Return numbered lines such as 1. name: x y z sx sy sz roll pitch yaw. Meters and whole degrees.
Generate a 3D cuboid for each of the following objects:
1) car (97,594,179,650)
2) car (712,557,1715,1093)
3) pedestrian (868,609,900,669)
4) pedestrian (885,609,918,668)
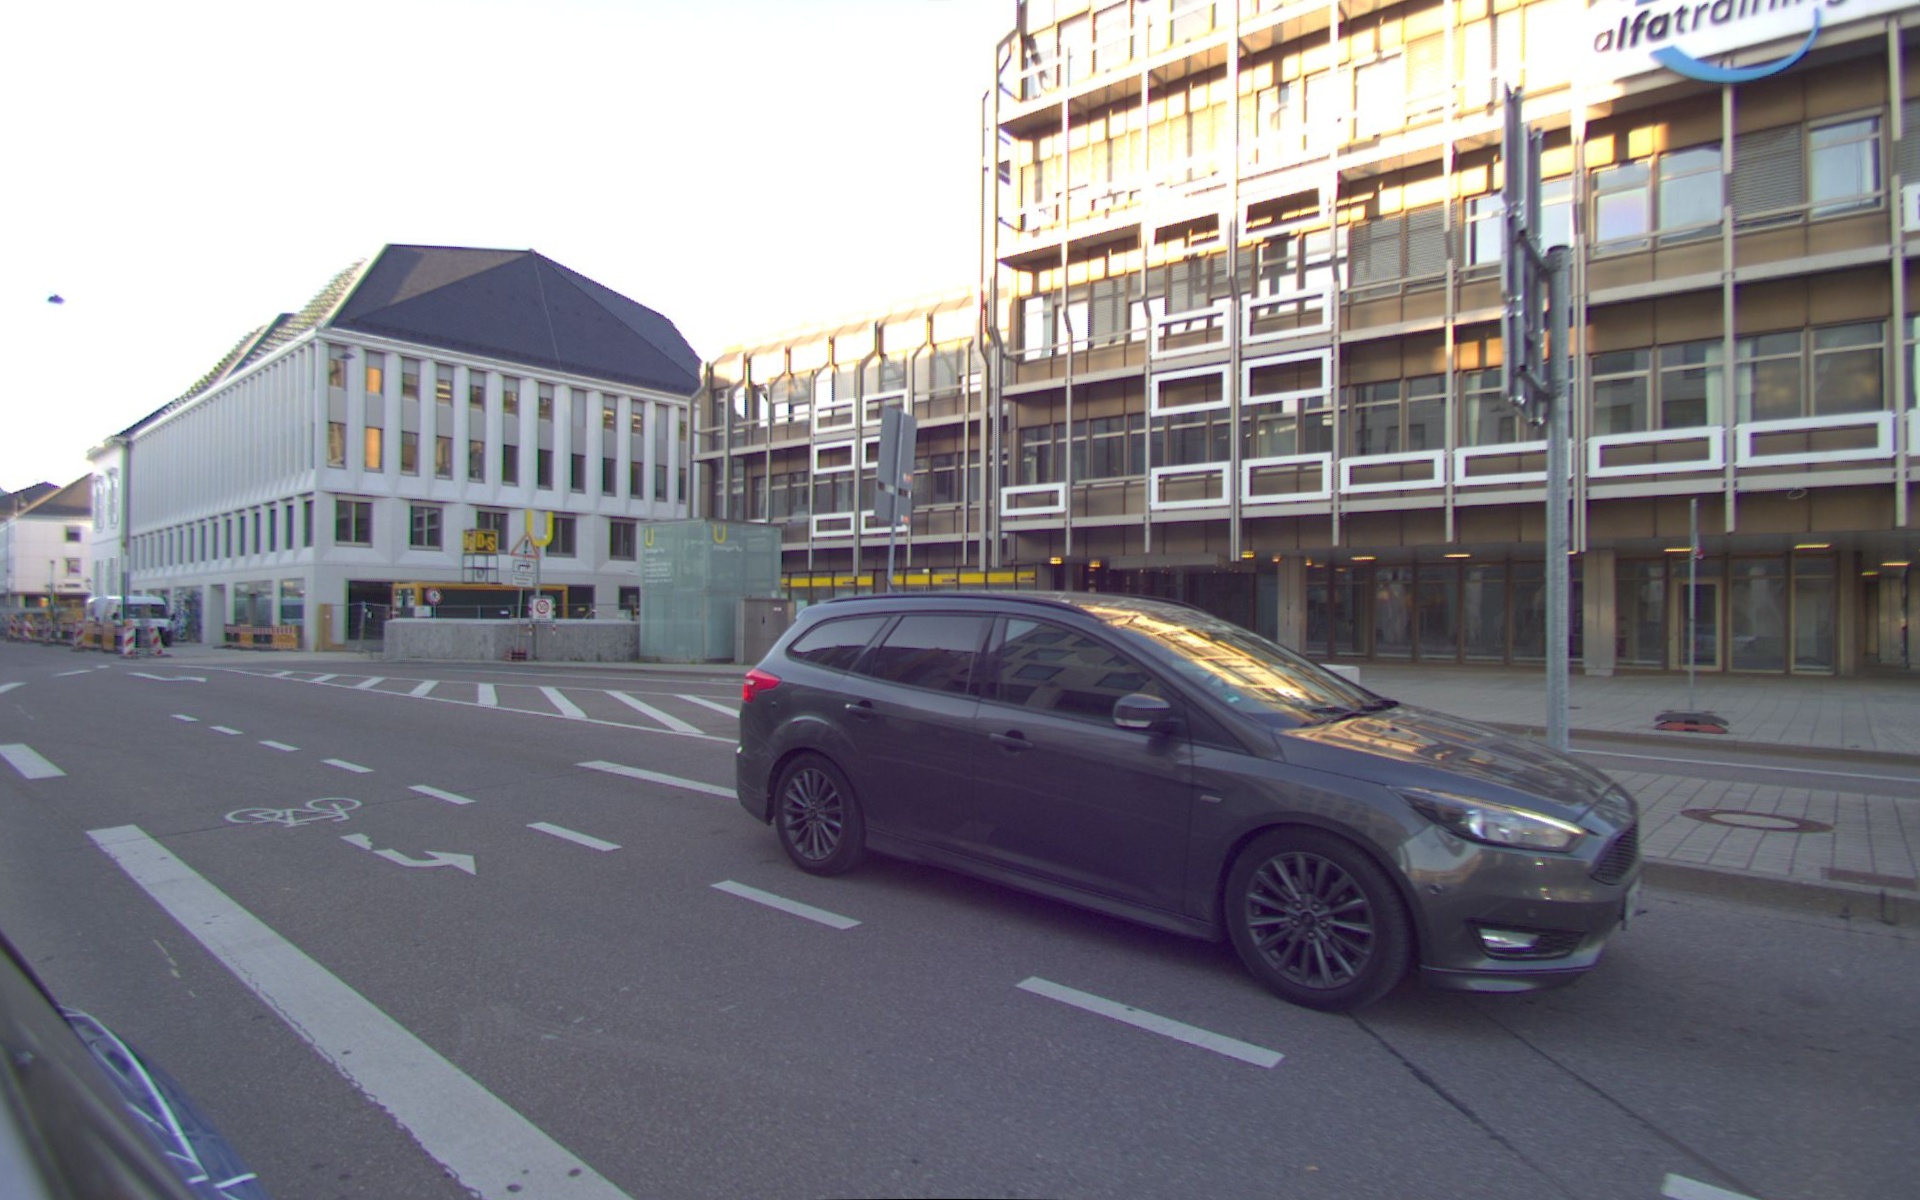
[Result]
1. car: -40.174 1.051 49.421 6.047 2.575 2.114 -1 -2 41
2. car: 0.848 0.636 4.879 4.377 1.473 1.740 -1 0 41
3. pedestrian: -2.131 1.089 28.453 0.583 1.651 0.662 -1 -2 41
4. pedestrian: -1.669 1.098 28.889 0.702 1.651 0.608 -1 -2 41
